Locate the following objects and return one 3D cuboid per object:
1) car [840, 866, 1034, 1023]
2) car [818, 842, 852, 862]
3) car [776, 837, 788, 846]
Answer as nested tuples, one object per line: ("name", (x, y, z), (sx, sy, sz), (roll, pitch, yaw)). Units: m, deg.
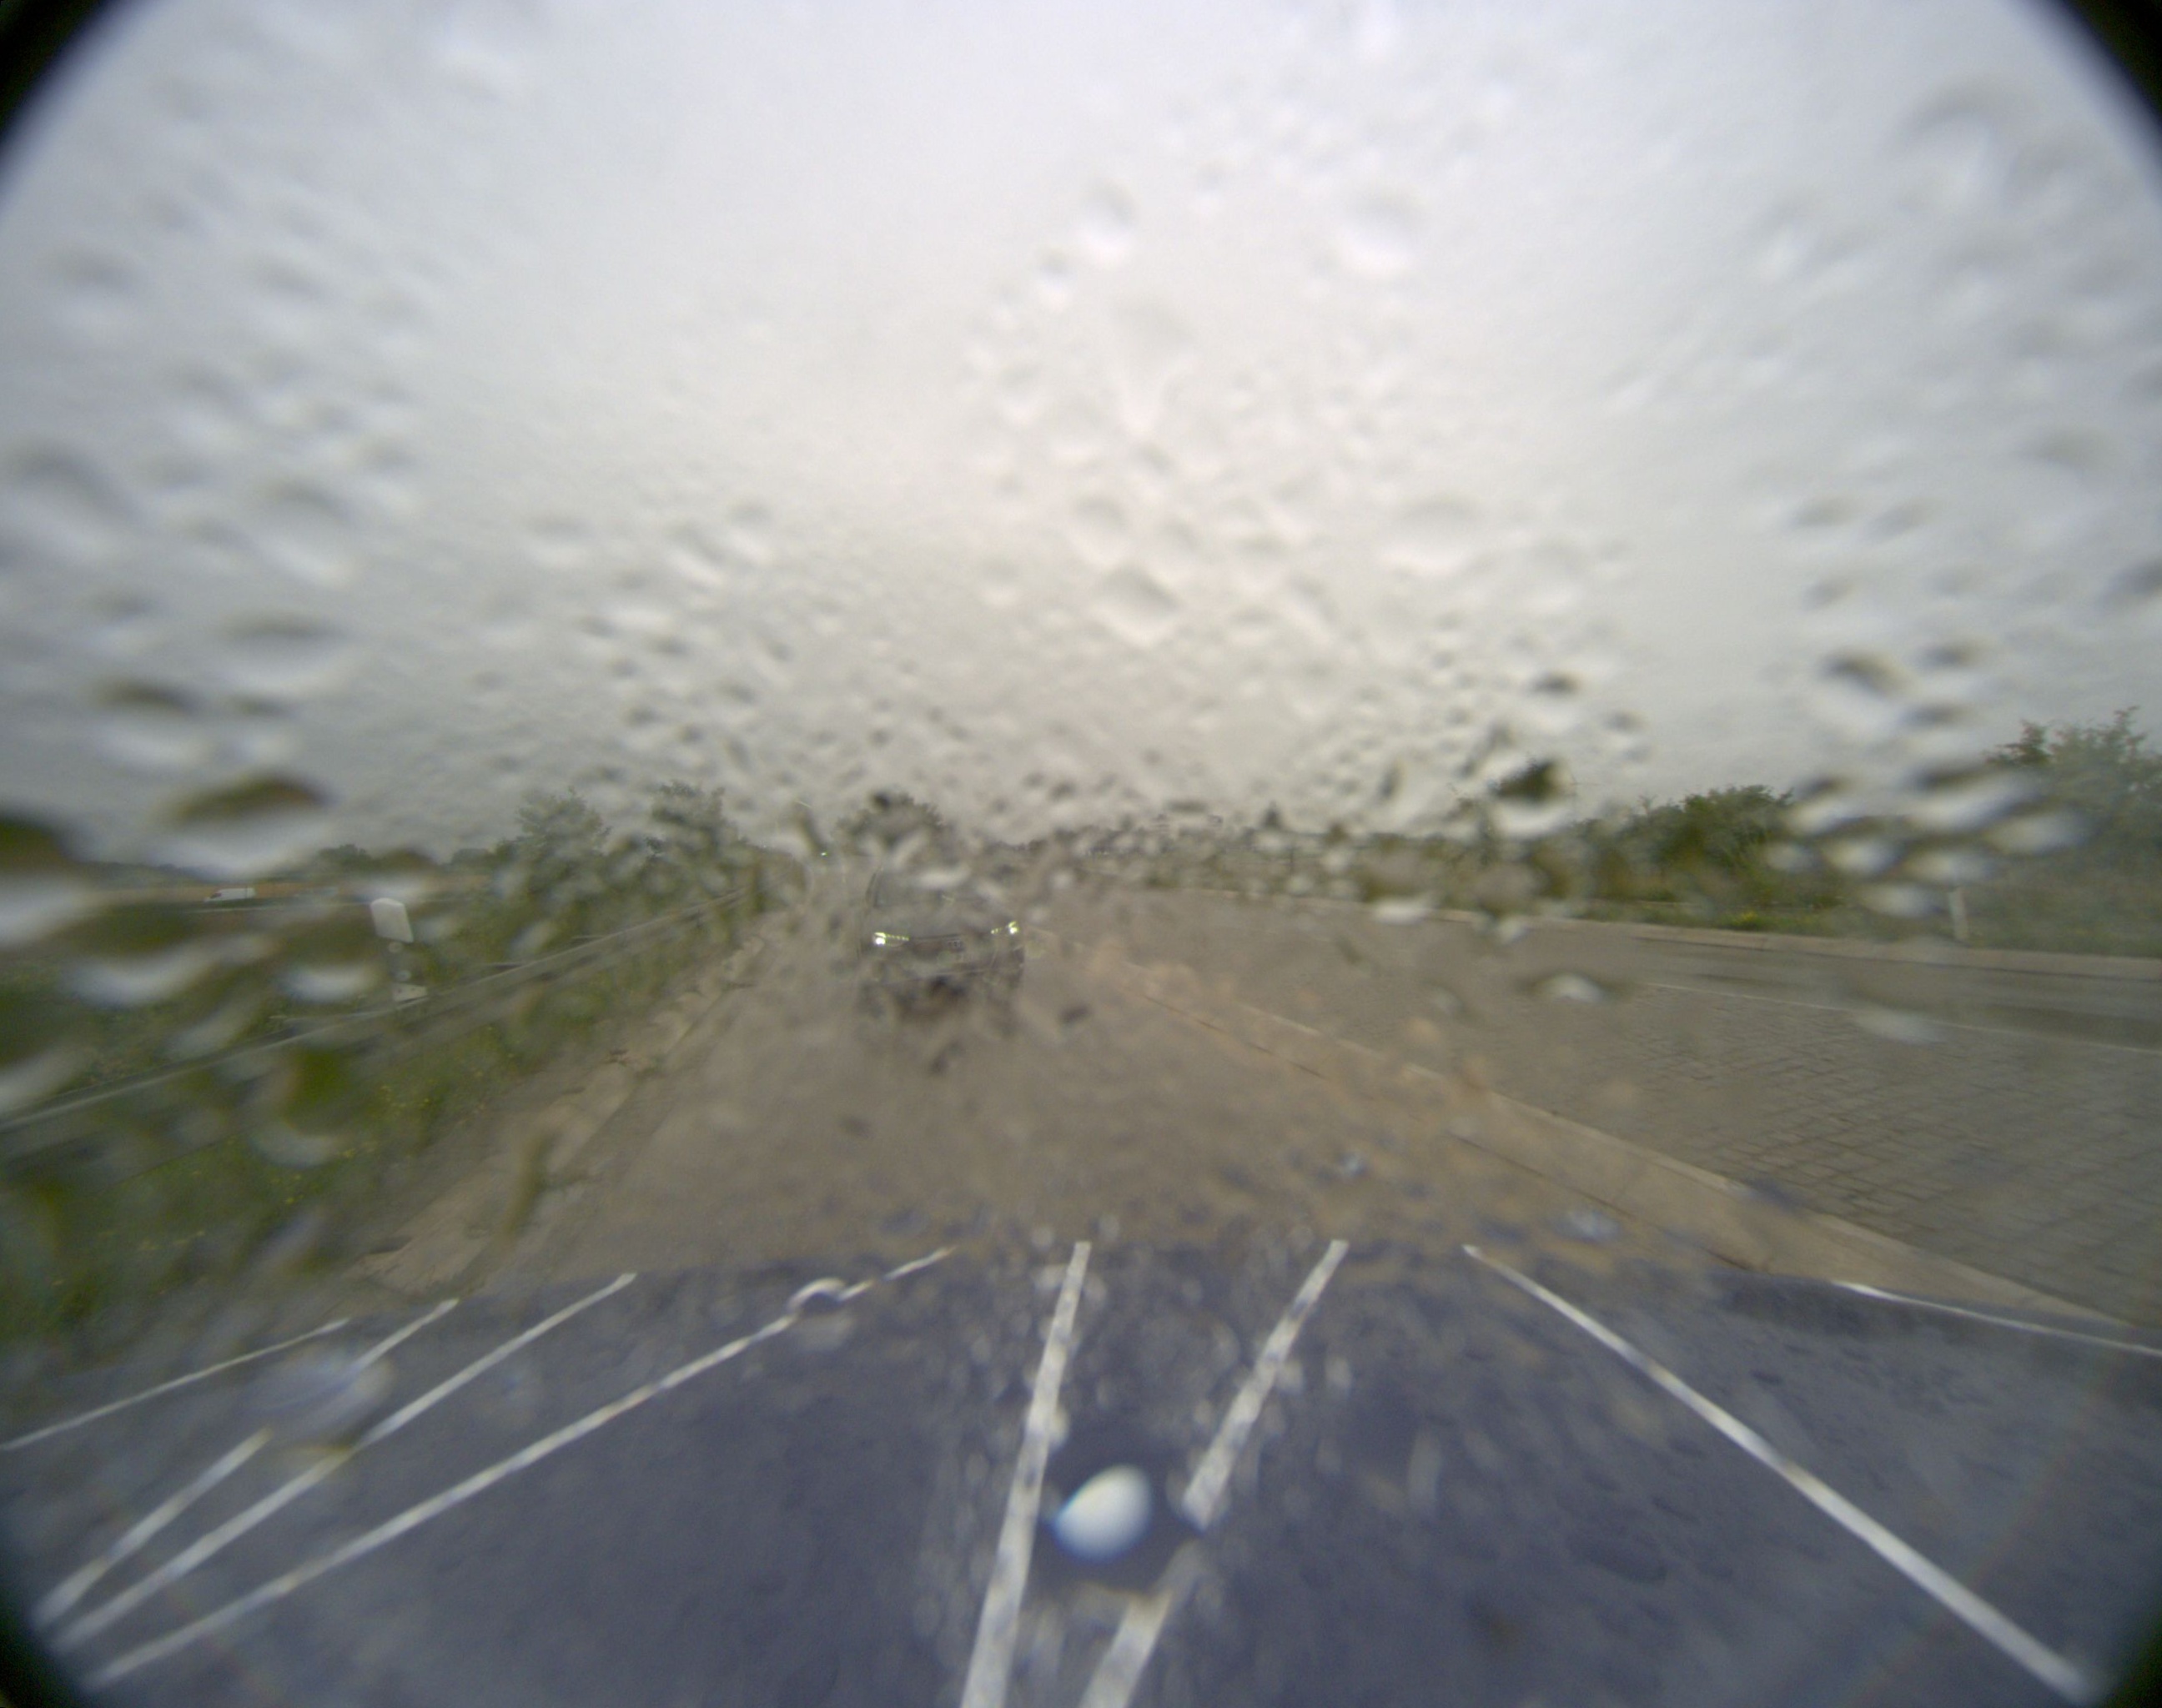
("car", (-2.005, 0.944, 10.045), (1.911, 1.361, 4.558), (-3, 1, -14))
("car", (-18.532, -0.211, 57.115), (1.913, 1.361, 4.555), (-2, 2, -24))
("car", (-54.652, -2.328, 138.904), (1.788, 1.517, 4.159), (-1, 2, -24))
